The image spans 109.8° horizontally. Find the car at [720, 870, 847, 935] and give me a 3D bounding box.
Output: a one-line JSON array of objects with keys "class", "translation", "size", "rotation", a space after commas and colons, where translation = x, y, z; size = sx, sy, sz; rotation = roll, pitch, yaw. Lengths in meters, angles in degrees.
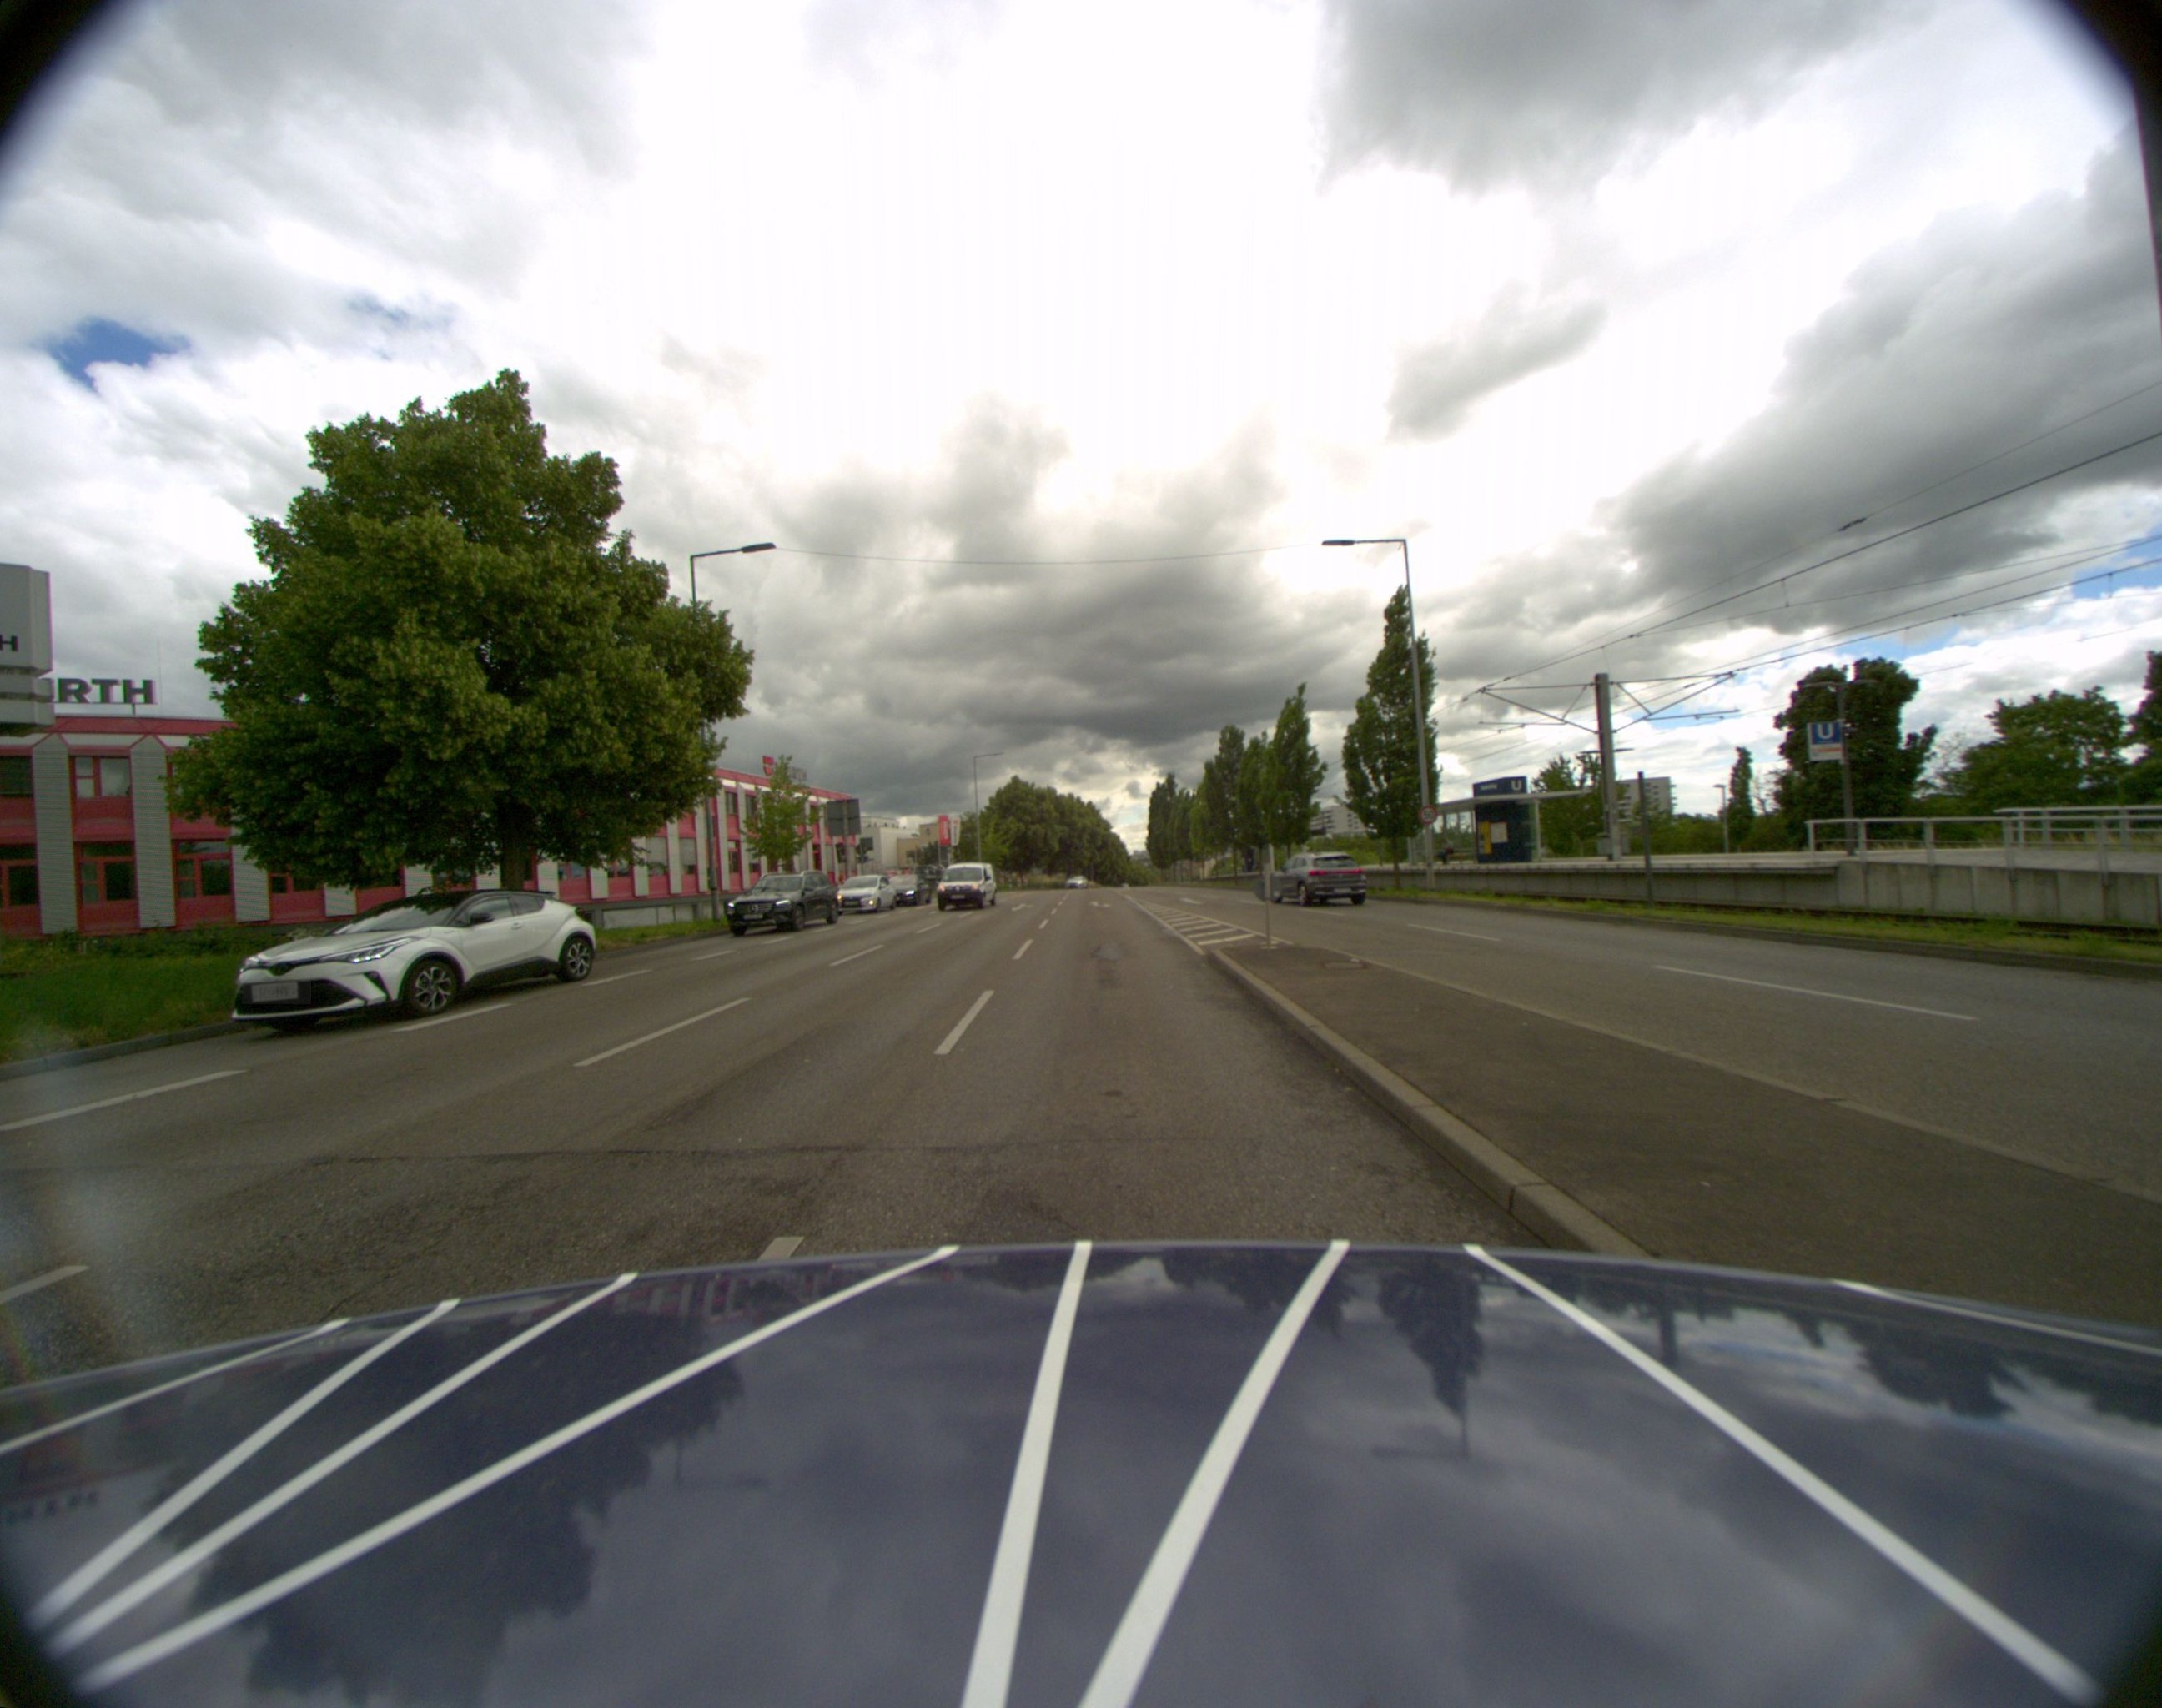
[{"class": "car", "translation": [-8.388, 1.314, 21.863], "size": [1.785, 1.639, 4.427], "rotation": [-1, -2, 1]}]

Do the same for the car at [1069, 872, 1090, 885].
[{"class": "car", "translation": [-0.175, 2.654, 81.832], "size": [1.784, 1.353, 4.483], "rotation": [-2, -3, 5]}]

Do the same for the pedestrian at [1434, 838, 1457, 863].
[{"class": "pedestrian", "translation": [17.616, -0.175, 36.735], "size": [0.663, 1.195, 0.782], "rotation": [-2, 0, -7]}]

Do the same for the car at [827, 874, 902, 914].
[{"class": "car", "translation": [-8.477, 1.553, 30.107], "size": [1.785, 1.434, 3.836], "rotation": [-1, -2, 1]}]

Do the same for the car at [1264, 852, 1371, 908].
[{"class": "car", "translation": [7.277, 0.750, 23.808], "size": [1.783, 1.537, 4.223], "rotation": [-2, 0, -3]}]

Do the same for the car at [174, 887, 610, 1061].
[{"class": "car", "translation": [-8.640, 1.367, 10.209], "size": [1.785, 1.526, 4.305], "rotation": [-5, 0, 0]}]

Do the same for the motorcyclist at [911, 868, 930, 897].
[{"class": "motorcyclist", "translation": [-8.359, 1.481, 39.599], "size": [0.750, 1.481, 0.933], "rotation": [-4, -1, -3]}]

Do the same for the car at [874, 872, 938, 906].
[{"class": "car", "translation": [-8.025, 1.589, 35.208], "size": [1.785, 1.437, 4.530], "rotation": [-1, -2, 1]}]

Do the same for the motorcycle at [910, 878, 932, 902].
[{"class": "motorcycle", "translation": [-8.328, 1.860, 39.514], "size": [0.750, 1.140, 1.943], "rotation": [-4, -1, -3]}]

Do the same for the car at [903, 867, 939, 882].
[{"class": "car", "translation": [-21.224, 2.685, 101.006], "size": [4.248, 1.744, 1.784], "rotation": [-2, 0, 2]}]

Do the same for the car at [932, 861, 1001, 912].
[{"class": "car", "translation": [-4.458, 1.228, 30.338], "size": [1.999, 1.791, 4.839], "rotation": [-2, 0, 0]}]
